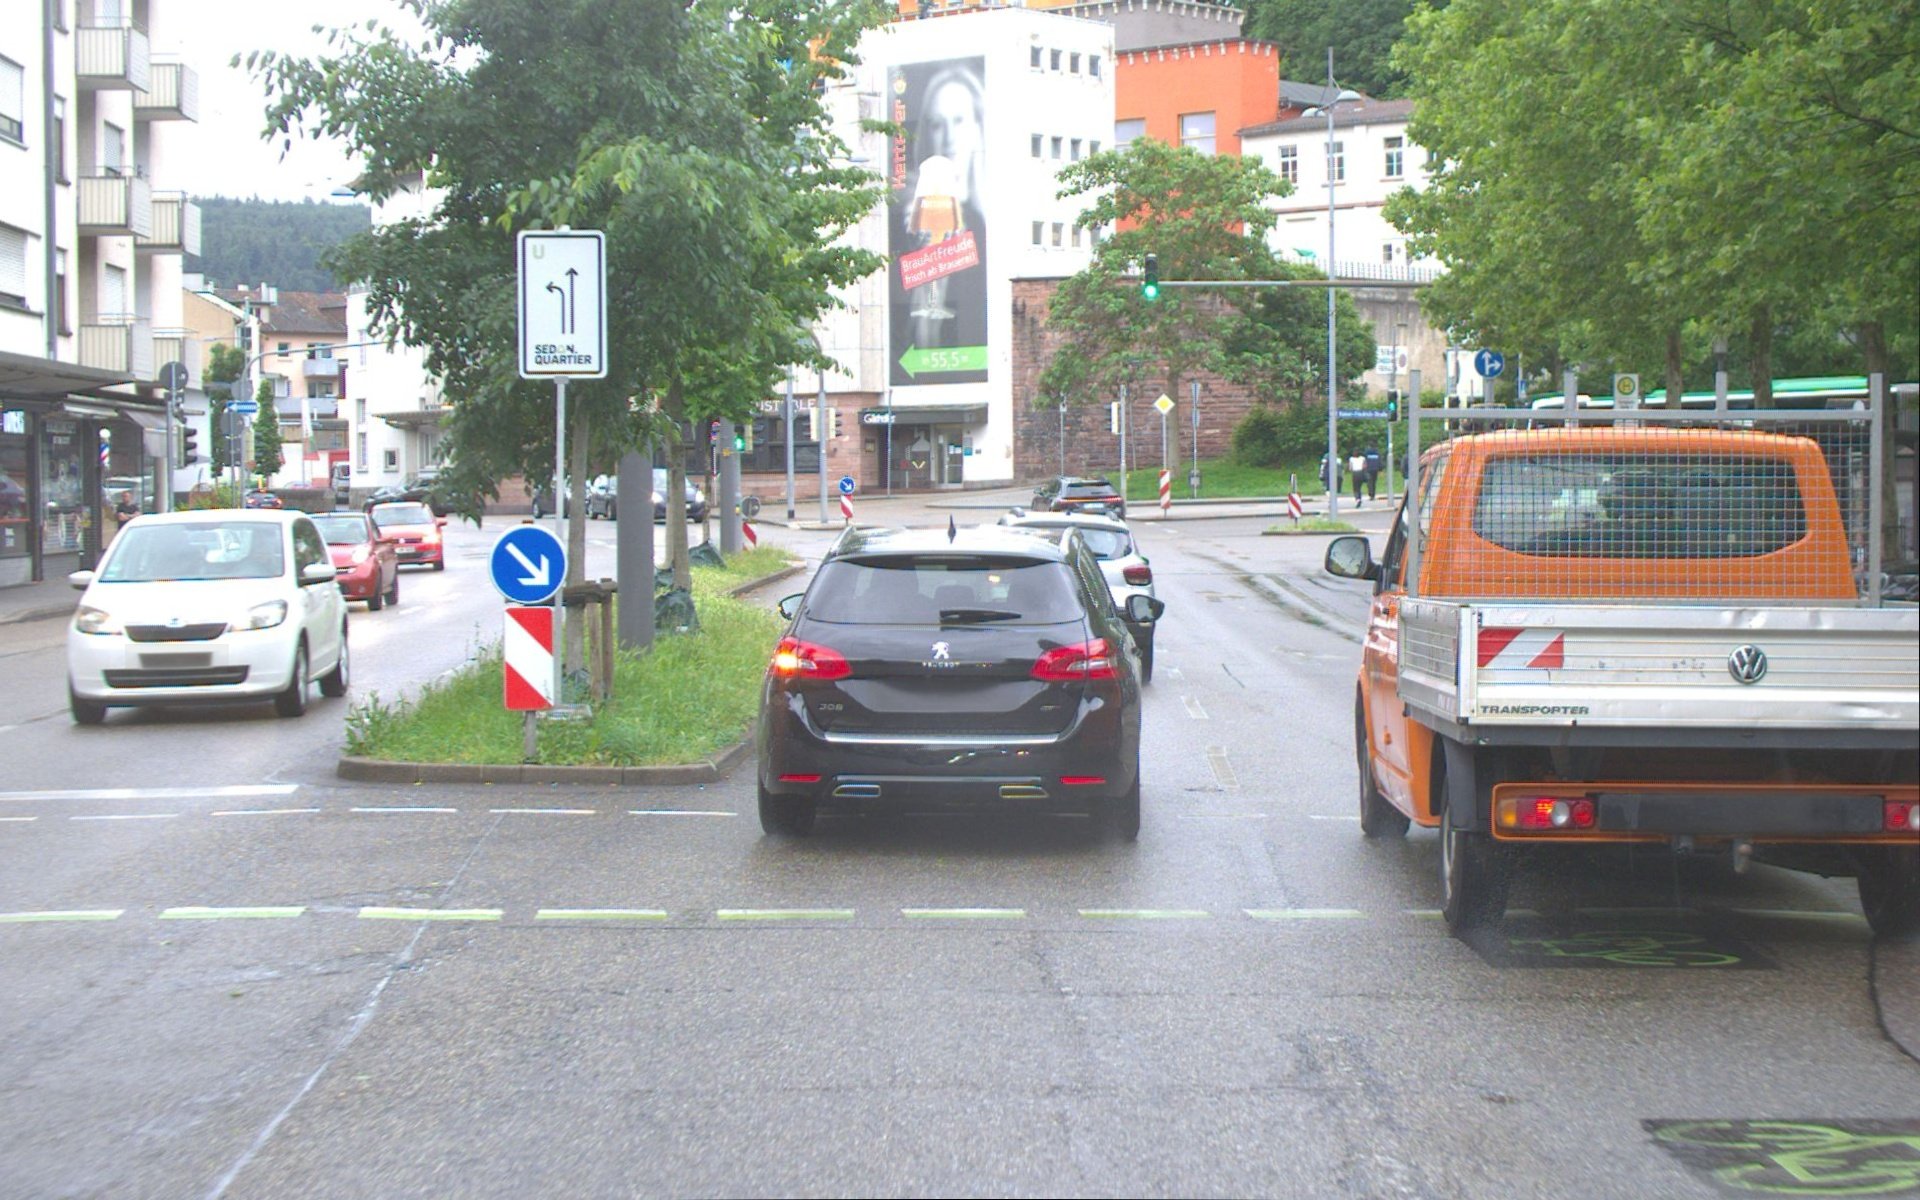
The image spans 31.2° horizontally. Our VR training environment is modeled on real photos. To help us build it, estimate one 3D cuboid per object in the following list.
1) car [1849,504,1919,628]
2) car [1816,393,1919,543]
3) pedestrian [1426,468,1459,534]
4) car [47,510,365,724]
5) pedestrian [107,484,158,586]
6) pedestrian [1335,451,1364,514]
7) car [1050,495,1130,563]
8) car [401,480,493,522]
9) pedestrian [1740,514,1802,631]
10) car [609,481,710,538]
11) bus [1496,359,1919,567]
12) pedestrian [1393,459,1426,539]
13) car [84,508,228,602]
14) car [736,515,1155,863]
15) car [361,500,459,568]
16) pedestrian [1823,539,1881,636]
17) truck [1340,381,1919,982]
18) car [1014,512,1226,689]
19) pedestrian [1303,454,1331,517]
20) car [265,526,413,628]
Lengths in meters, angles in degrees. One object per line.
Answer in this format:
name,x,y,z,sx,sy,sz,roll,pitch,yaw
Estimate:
car,13.425,-0.368,43.243,3.987,1.504,1.743,2,2,1
car,19.111,-2.656,70.188,2.072,2.960,4.228,1,1,-2
pedestrian,12.345,-2.527,87.995,0.718,1.658,0.563,-1,3,-3
car,-5.470,0.073,25.333,1.654,1.445,3.544,0,2,-2
pedestrian,-16.676,-1.311,69.254,0.726,2.007,0.657,3,-1,-35
pedestrian,10.368,-3.136,91.480,0.639,1.658,0.563,-1,3,-3
car,3.277,-1.779,86.933,1.644,1.559,3.600,2,-1,-3
car,-19.270,-3.721,129.160,1.596,1.505,3.598,-1,2,-44
pedestrian,11.844,-0.403,50.216,0.724,1.694,0.623,1,1,-1
car,-8.812,-2.629,100.633,1.644,1.559,3.601,3,-1,-27
bus,23.139,-3.494,89.221,17.918,5.193,3.099,1,1,1
pedestrian,11.443,-2.571,87.471,0.718,1.986,0.563,-1,3,-3
car,-13.621,-0.785,58.411,1.777,1.520,3.662,0,2,-3
car,-0.053,0.350,16.995,1.795,1.478,4.000,1,1,0
car,-11.618,-1.420,72.801,1.690,1.396,3.662,0,2,-3
pedestrian,12.737,-0.181,49.099,0.621,1.353,0.726,1,1,0
truck,2.801,0.210,14.034,2.122,2.018,4.716,1,2,2
car,1.397,-0.045,31.333,1.795,1.478,4.000,0,2,1
pedestrian,9.490,-3.054,91.428,0.639,1.658,0.563,-1,3,-3
car,-9.239,-0.375,51.381,1.664,1.395,3.877,-1,2,-3
